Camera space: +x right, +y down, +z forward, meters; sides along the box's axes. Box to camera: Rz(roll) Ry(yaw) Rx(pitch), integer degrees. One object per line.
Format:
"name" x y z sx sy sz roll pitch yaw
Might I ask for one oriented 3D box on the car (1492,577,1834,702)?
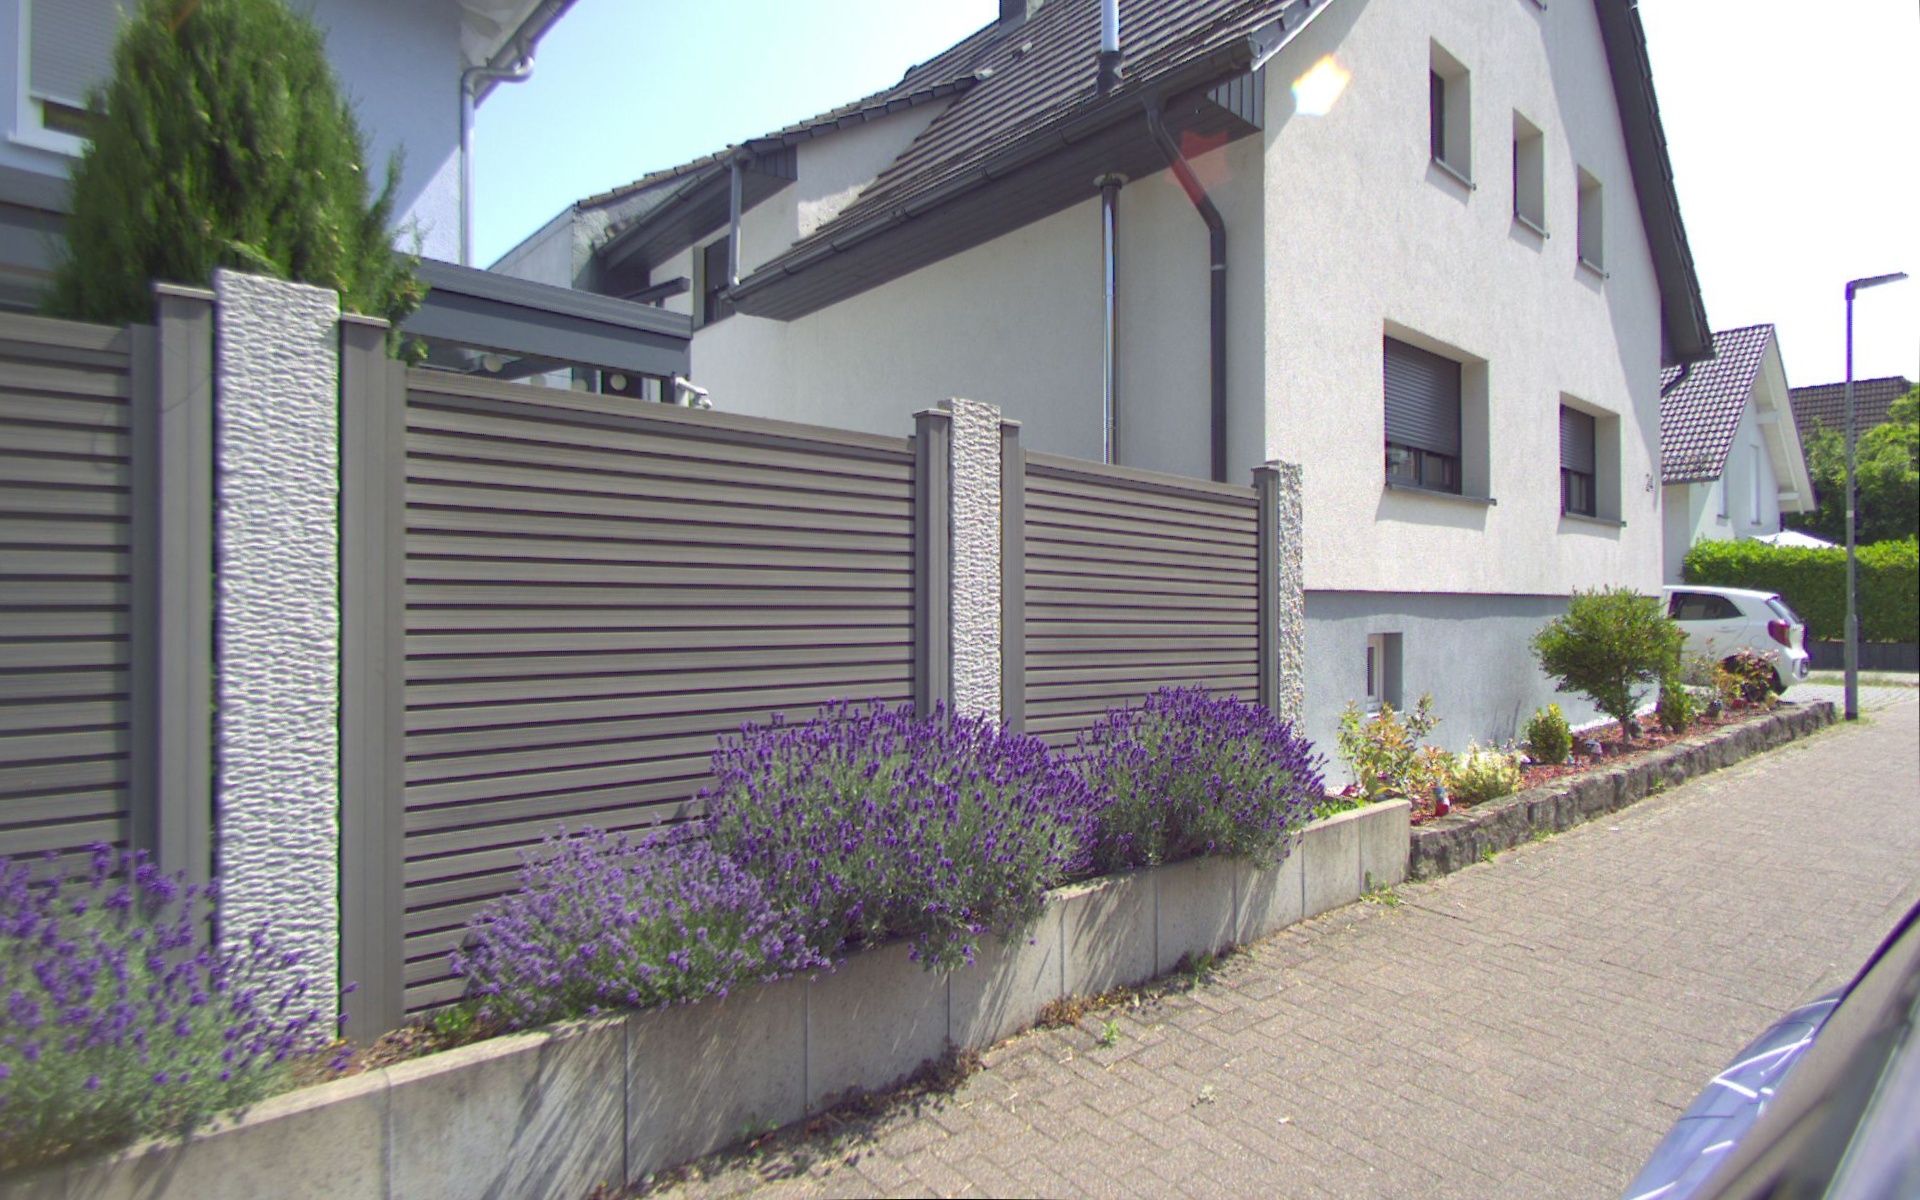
"car" 9.737 0.451 14.199 1.736 1.493 3.661 1 1 -43
